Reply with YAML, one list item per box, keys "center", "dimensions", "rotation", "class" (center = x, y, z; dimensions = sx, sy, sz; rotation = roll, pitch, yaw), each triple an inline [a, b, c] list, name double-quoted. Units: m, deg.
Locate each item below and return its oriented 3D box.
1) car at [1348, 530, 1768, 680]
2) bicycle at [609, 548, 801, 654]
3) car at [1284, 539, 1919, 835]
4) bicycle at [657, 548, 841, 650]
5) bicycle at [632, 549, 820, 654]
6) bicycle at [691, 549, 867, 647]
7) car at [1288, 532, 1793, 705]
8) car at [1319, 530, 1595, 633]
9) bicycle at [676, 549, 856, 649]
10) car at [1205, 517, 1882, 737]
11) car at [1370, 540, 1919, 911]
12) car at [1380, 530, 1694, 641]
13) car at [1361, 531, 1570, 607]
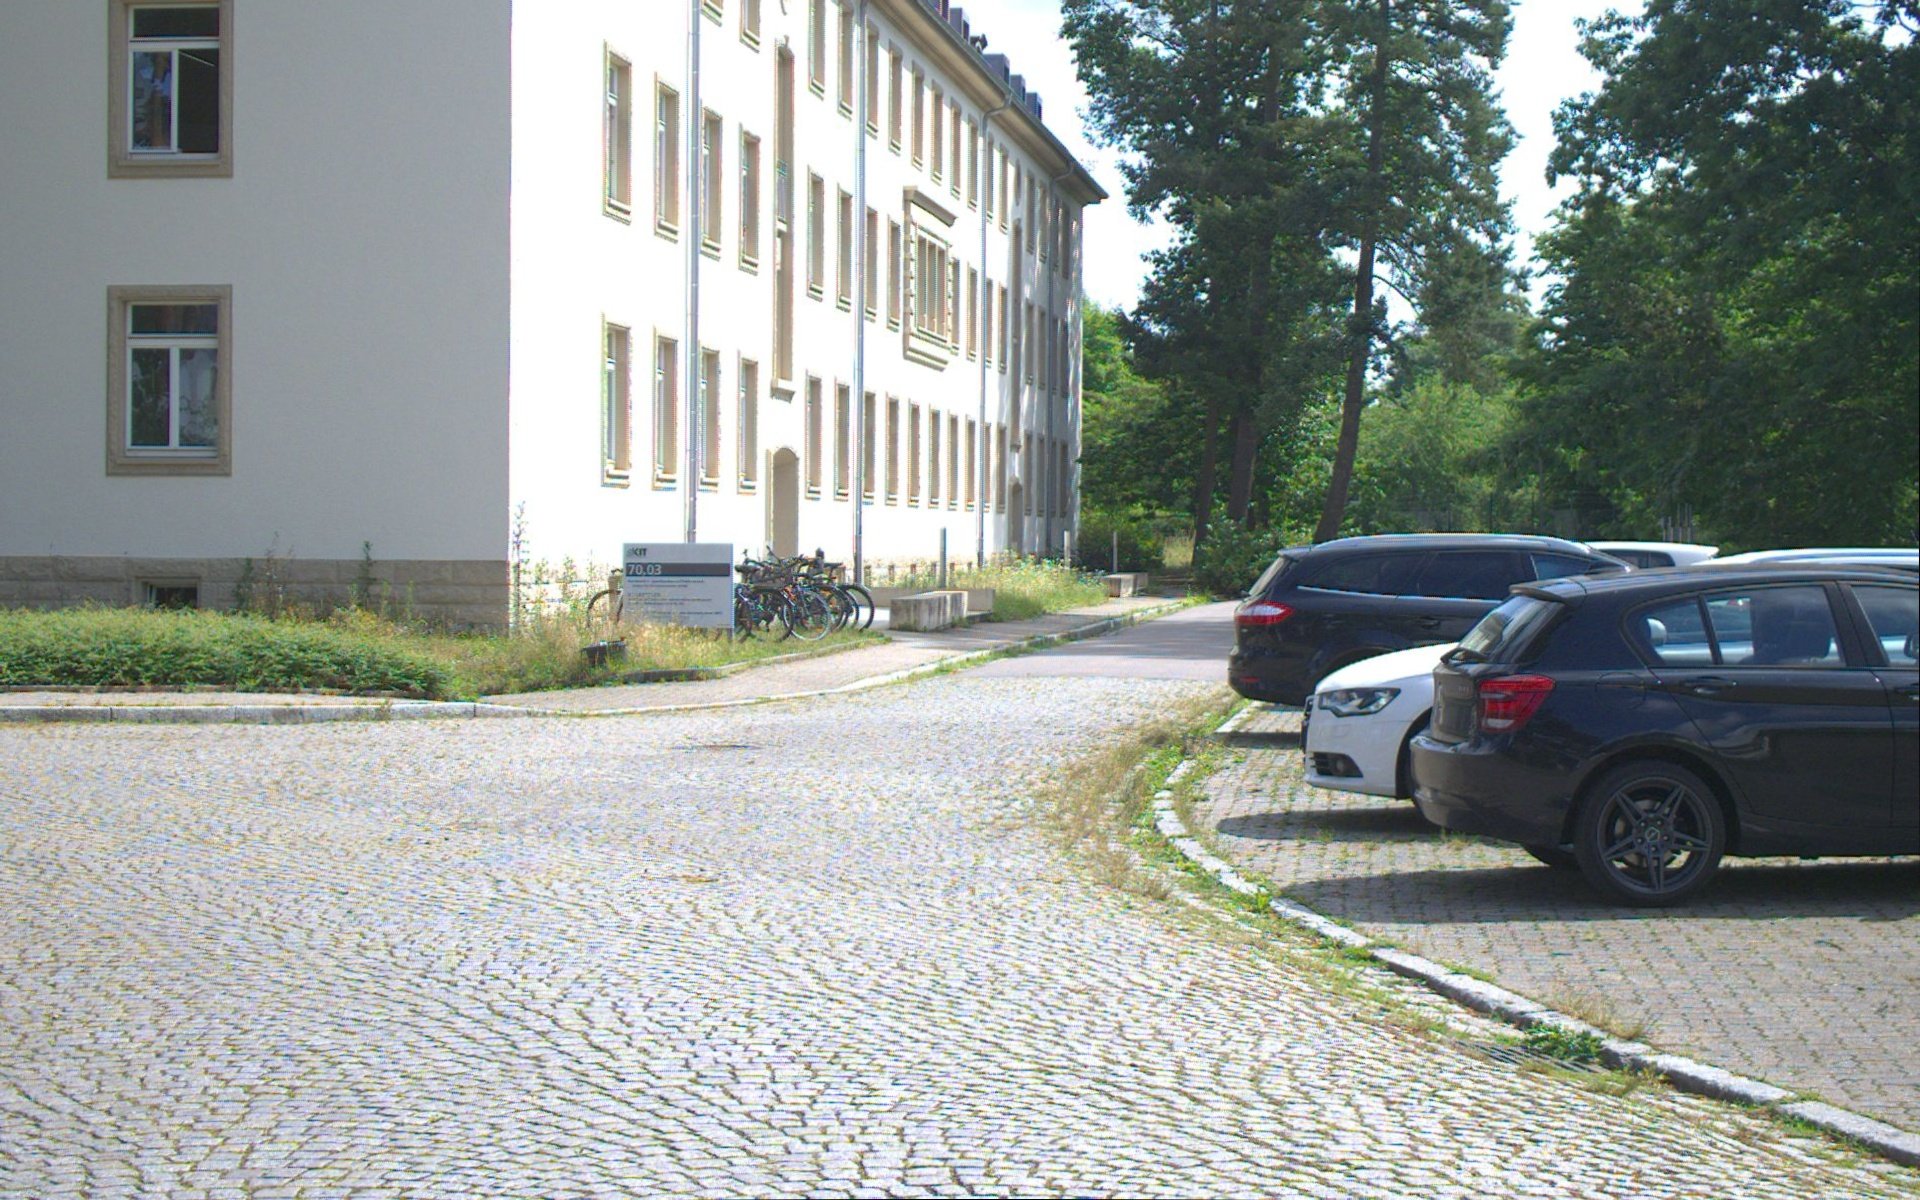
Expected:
- center: [6.219, 0.052, 35.929]
  dimensions: [4.209, 1.479, 1.819]
  rotation: [-1, 0, 9]
  class: "car"
- center: [-3.080, 0.007, 41.549]
  dimensions: [2.223, 1.256, 0.622]
  rotation: [0, 1, 14]
  class: "bicycle"
- center: [4.220, 0.435, 18.644]
  dimensions: [4.863, 1.467, 1.874]
  rotation: [-1, 2, 6]
  class: "car"
- center: [-2.650, -0.019, 43.246]
  dimensions: [2.223, 1.256, 0.622]
  rotation: [0, 1, 14]
  class: "bicycle"
- center: [-2.880, 0.011, 42.342]
  dimensions: [2.223, 1.256, 0.623]
  rotation: [0, 1, 10]
  class: "bicycle"
- center: [-2.374, -0.032, 45.100]
  dimensions: [2.223, 1.256, 0.623]
  rotation: [0, 1, 10]
  class: "bicycle"
- center: [5.210, 0.166, 31.284]
  dimensions: [4.399, 1.479, 1.765]
  rotation: [-1, 0, 6]
  class: "car"
- center: [7.802, -0.289, 53.947]
  dimensions: [4.188, 1.538, 1.819]
  rotation: [-1, 0, 9]
  class: "car"
- center: [-2.484, -0.016, 44.097]
  dimensions: [2.223, 1.256, 0.623]
  rotation: [0, 1, 10]
  class: "bicycle"
- center: [4.319, 0.199, 25.954]
  dimensions: [4.854, 1.547, 1.879]
  rotation: [-1, 0, 6]
  class: "car"
- center: [4.144, 0.500, 15.448]
  dimensions: [4.324, 1.495, 1.830]
  rotation: [-1, 2, -2]
  class: "car"
- center: [8.112, -0.203, 48.456]
  dimensions: [4.268, 1.479, 1.819]
  rotation: [-1, 0, 9]
  class: "car"
- center: [10.400, -0.634, 70.753]
  dimensions: [4.188, 1.479, 1.819]
  rotation: [-1, 0, 9]
  class: "car"
